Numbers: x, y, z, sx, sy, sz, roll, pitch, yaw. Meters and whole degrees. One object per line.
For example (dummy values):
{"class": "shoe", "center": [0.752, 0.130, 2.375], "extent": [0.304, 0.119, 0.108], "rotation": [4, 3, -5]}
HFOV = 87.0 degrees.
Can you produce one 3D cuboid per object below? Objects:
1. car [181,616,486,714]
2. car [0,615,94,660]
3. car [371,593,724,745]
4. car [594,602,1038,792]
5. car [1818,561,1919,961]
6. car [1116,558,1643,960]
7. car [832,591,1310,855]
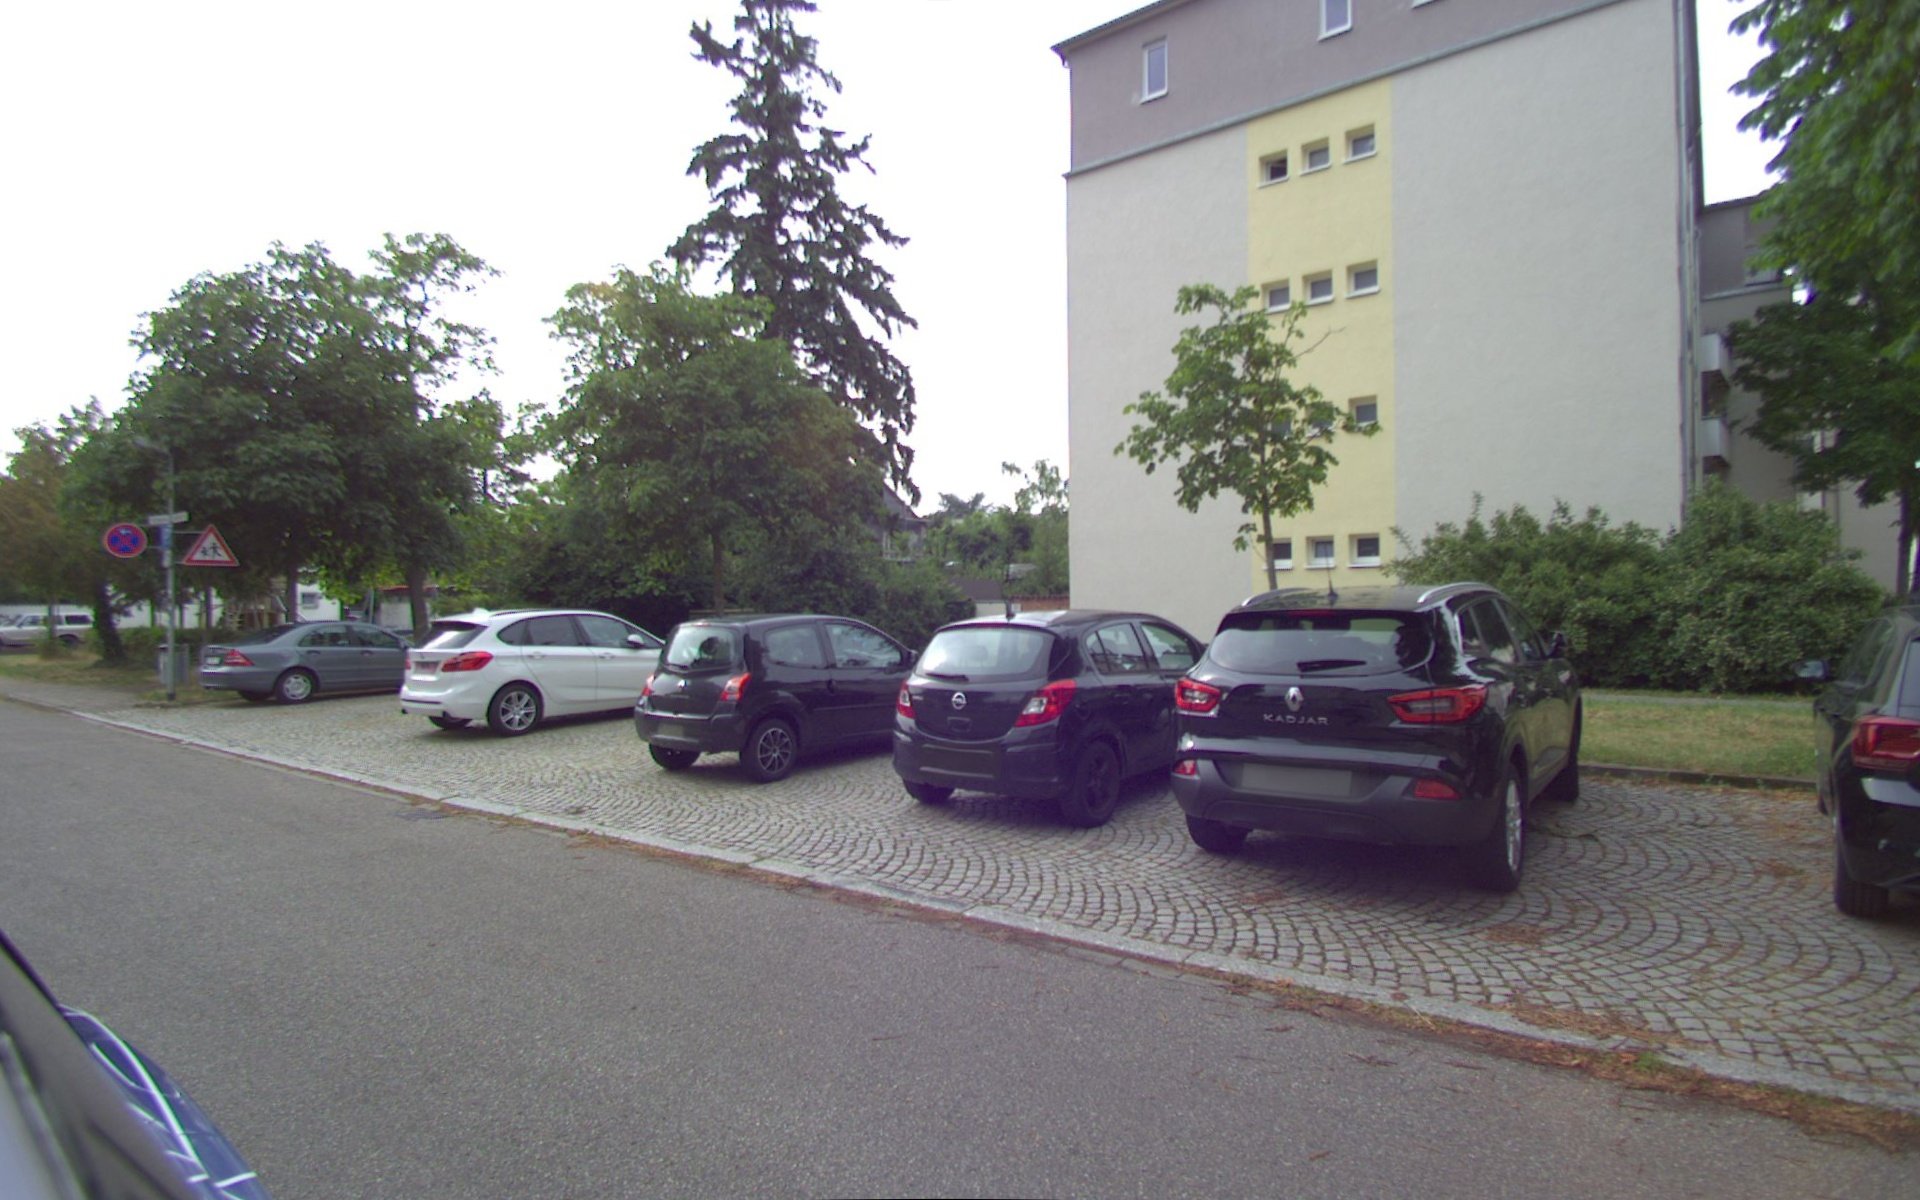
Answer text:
{"class": "car", "center": [-11.364, 1.091, 18.696], "extent": [1.675, 1.465, 4.509], "rotation": [-1, 0, 33]}
{"class": "car", "center": [-42.306, 1.680, 45.758], "extent": [1.995, 1.873, 4.443], "rotation": [2, 1, 33]}
{"class": "car", "center": [-5.504, 0.788, 13.961], "extent": [1.882, 1.572, 4.097], "rotation": [0, 3, 37]}
{"class": "car", "center": [-1.267, 0.807, 10.603], "extent": [1.840, 1.475, 4.498], "rotation": [-1, 0, 41]}
{"class": "car", "center": [5.529, 0.625, 5.045], "extent": [1.829, 1.589, 3.791], "rotation": [-2, -2, 40]}
{"class": "car", "center": [2.908, 0.654, 6.460], "extent": [1.916, 1.710, 4.013], "rotation": [-1, 0, 41]}
{"class": "car", "center": [1.164, 0.757, 8.461], "extent": [1.840, 1.577, 4.297], "rotation": [-1, 0, 41]}
